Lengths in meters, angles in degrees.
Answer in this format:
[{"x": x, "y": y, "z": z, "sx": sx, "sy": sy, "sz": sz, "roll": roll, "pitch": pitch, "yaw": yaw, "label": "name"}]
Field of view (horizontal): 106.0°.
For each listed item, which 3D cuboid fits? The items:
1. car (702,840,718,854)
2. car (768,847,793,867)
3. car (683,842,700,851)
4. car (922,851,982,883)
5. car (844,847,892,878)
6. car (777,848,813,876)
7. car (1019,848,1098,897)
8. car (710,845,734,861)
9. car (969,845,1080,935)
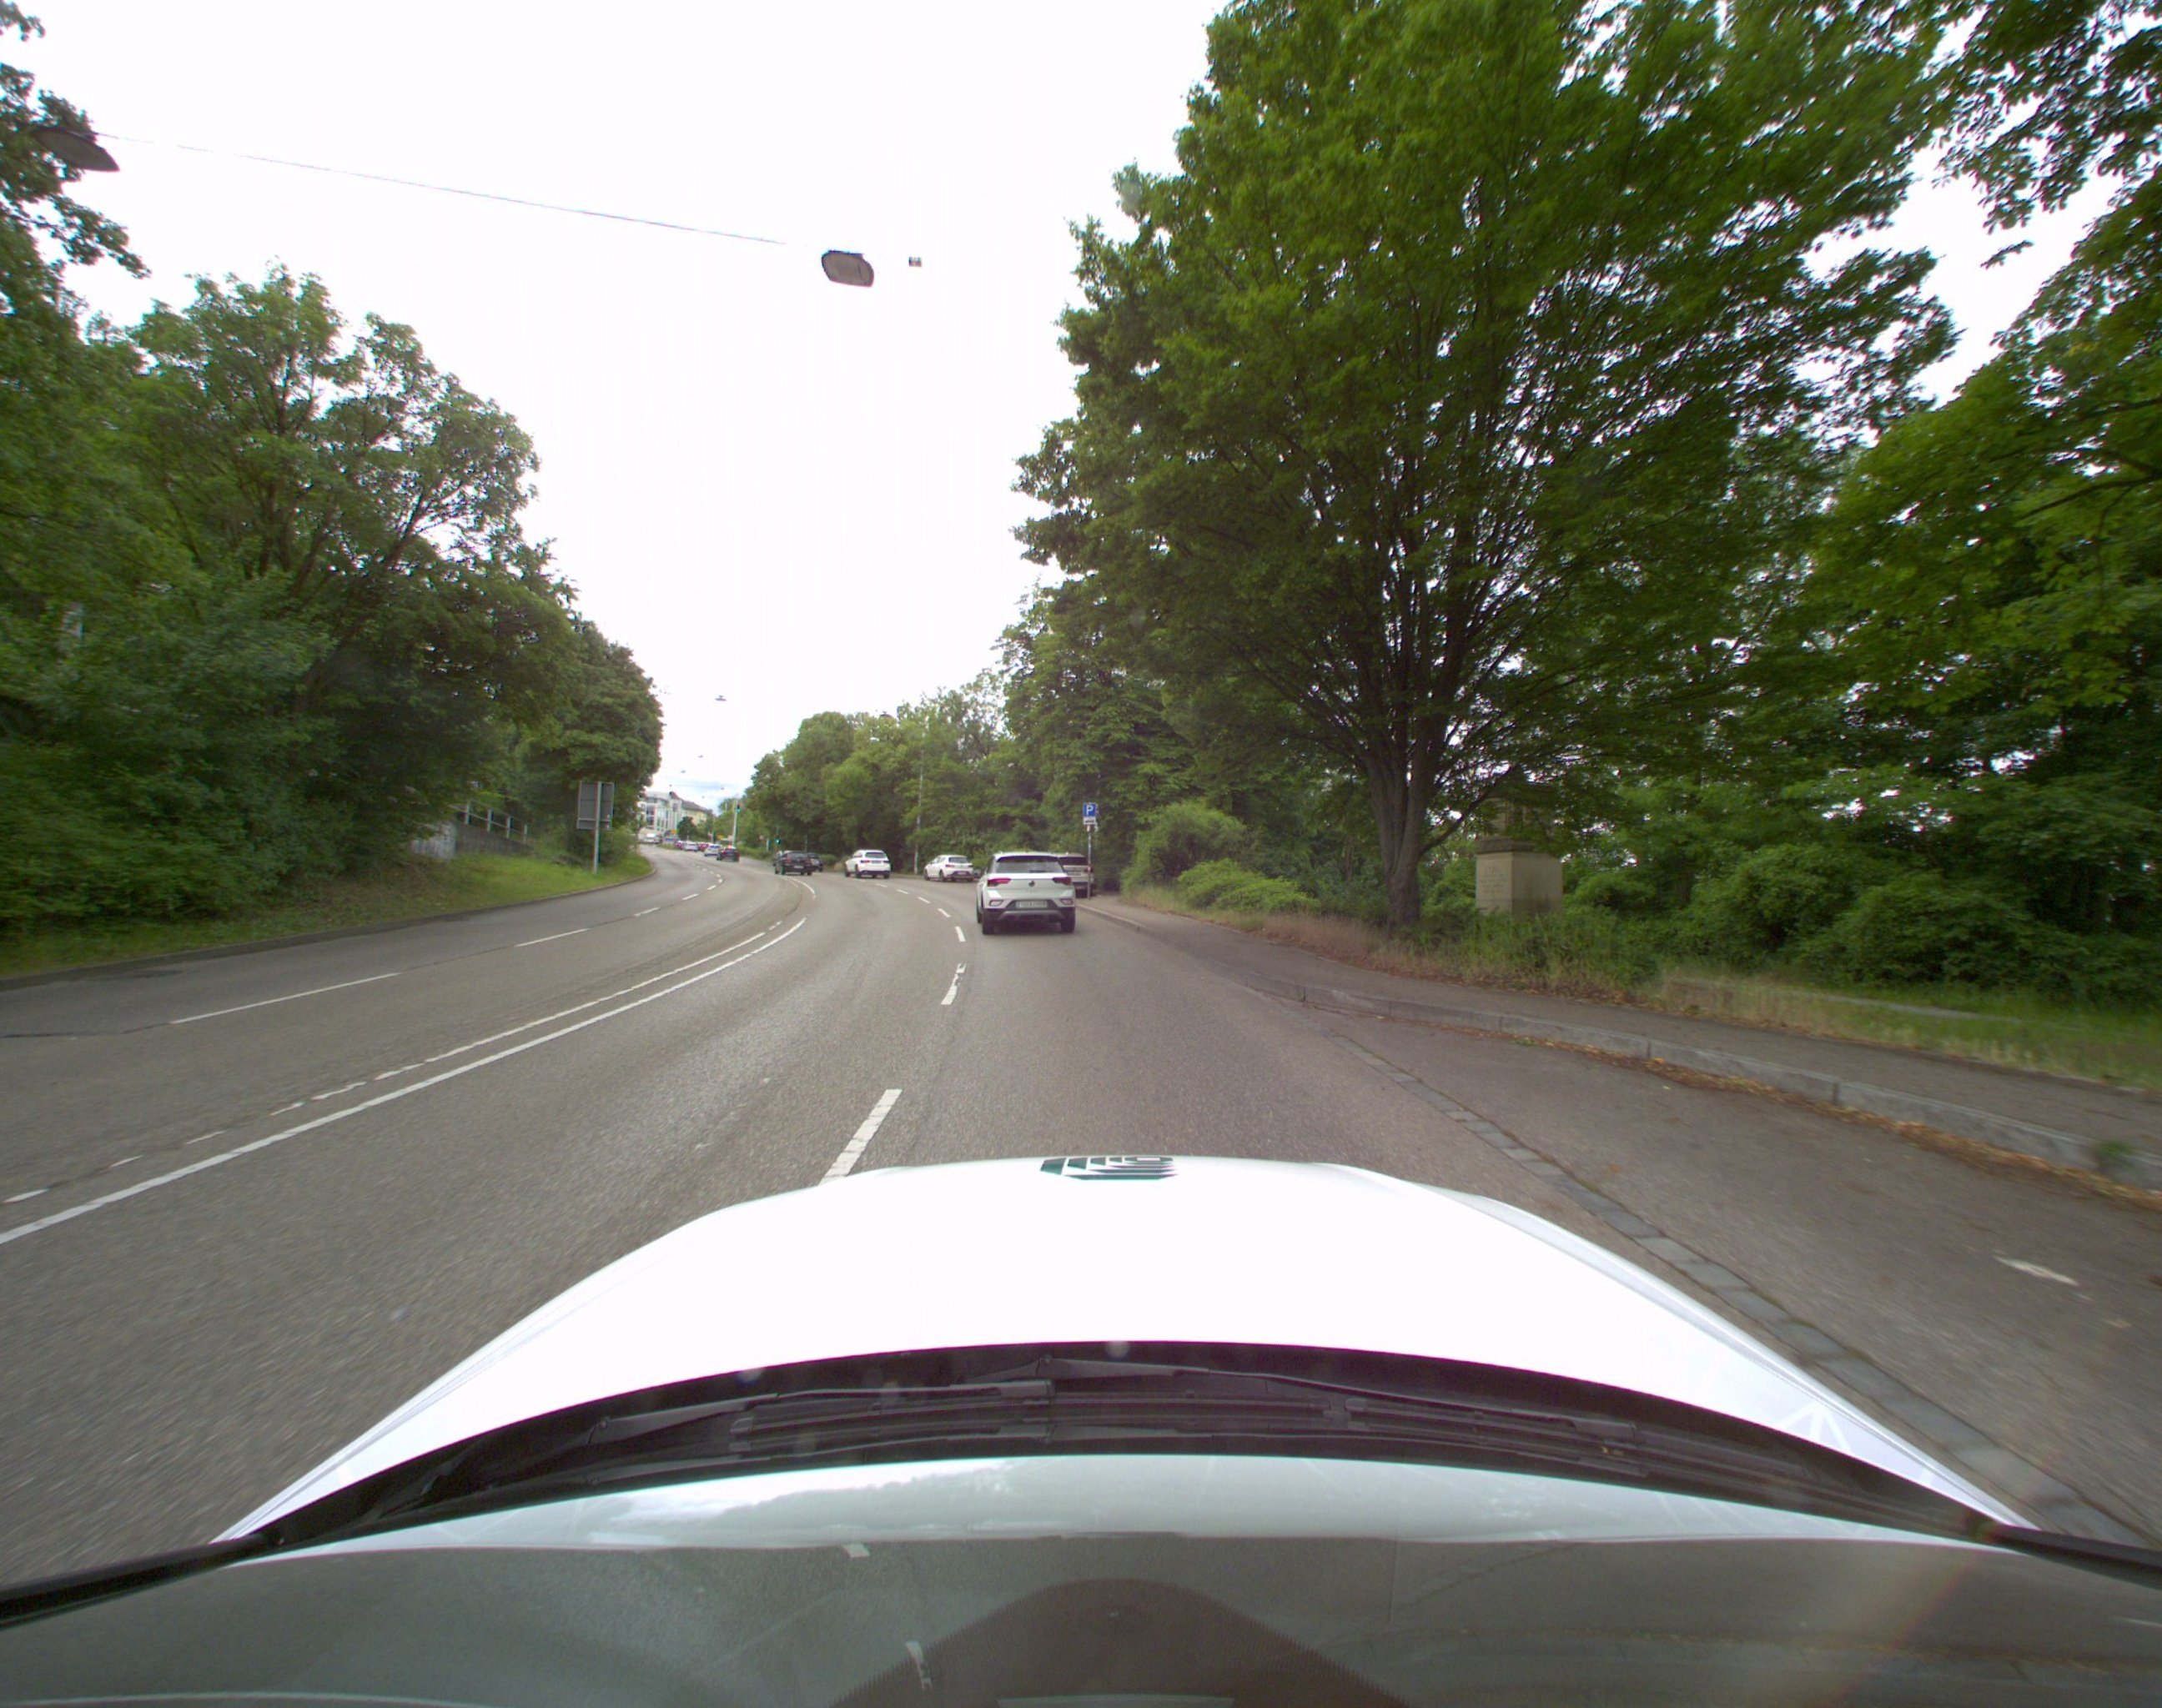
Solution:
[{"x": -45.790, "y": -0.823, "z": 100.577, "sx": 1.718, "sy": 1.589, "sz": 3.969, "roll": 3, "pitch": 0, "yaw": -24, "label": "car"}, {"x": -26.108, "y": 0.260, "z": 70.733, "sx": 1.773, "sy": 1.606, "sz": 3.969, "roll": 3, "pitch": 0, "yaw": -23, "label": "car"}, {"x": -66.777, "y": -1.273, "z": 139.785, "sx": 1.998, "sy": 1.527, "sz": 3.977, "roll": 3, "pitch": 0, "yaw": -17, "label": "car"}, {"x": -7.064, "y": 0.668, "z": 44.201, "sx": 1.742, "sy": 1.482, "sz": 4.660, "roll": 3, "pitch": 0, "yaw": -28, "label": "car"}, {"x": -12.433, "y": 0.498, "z": 47.353, "sx": 1.861, "sy": 1.703, "sz": 3.964, "roll": -1, "pitch": -1, "yaw": -27, "label": "car"}, {"x": -17.280, "y": 0.456, "z": 49.181, "sx": 1.956, "sy": 1.466, "sz": 3.974, "roll": 3, "pitch": 0, "yaw": -20, "label": "car"}, {"x": -0.923, "y": 0.628, "z": 29.859, "sx": 1.763, "sy": 1.652, "sz": 4.354, "roll": 0, "pitch": 0, "yaw": -18, "label": "car"}, {"x": -37.154, "y": -0.080, "z": 84.355, "sx": 2.001, "sy": 1.487, "sz": 3.972, "roll": 3, "pitch": 0, "yaw": -22, "label": "car"}, {"x": -1.228, "y": 0.627, "z": 16.677, "sx": 1.998, "sy": 1.596, "sz": 3.991, "roll": 0, "pitch": 0, "yaw": -6, "label": "car"}]
